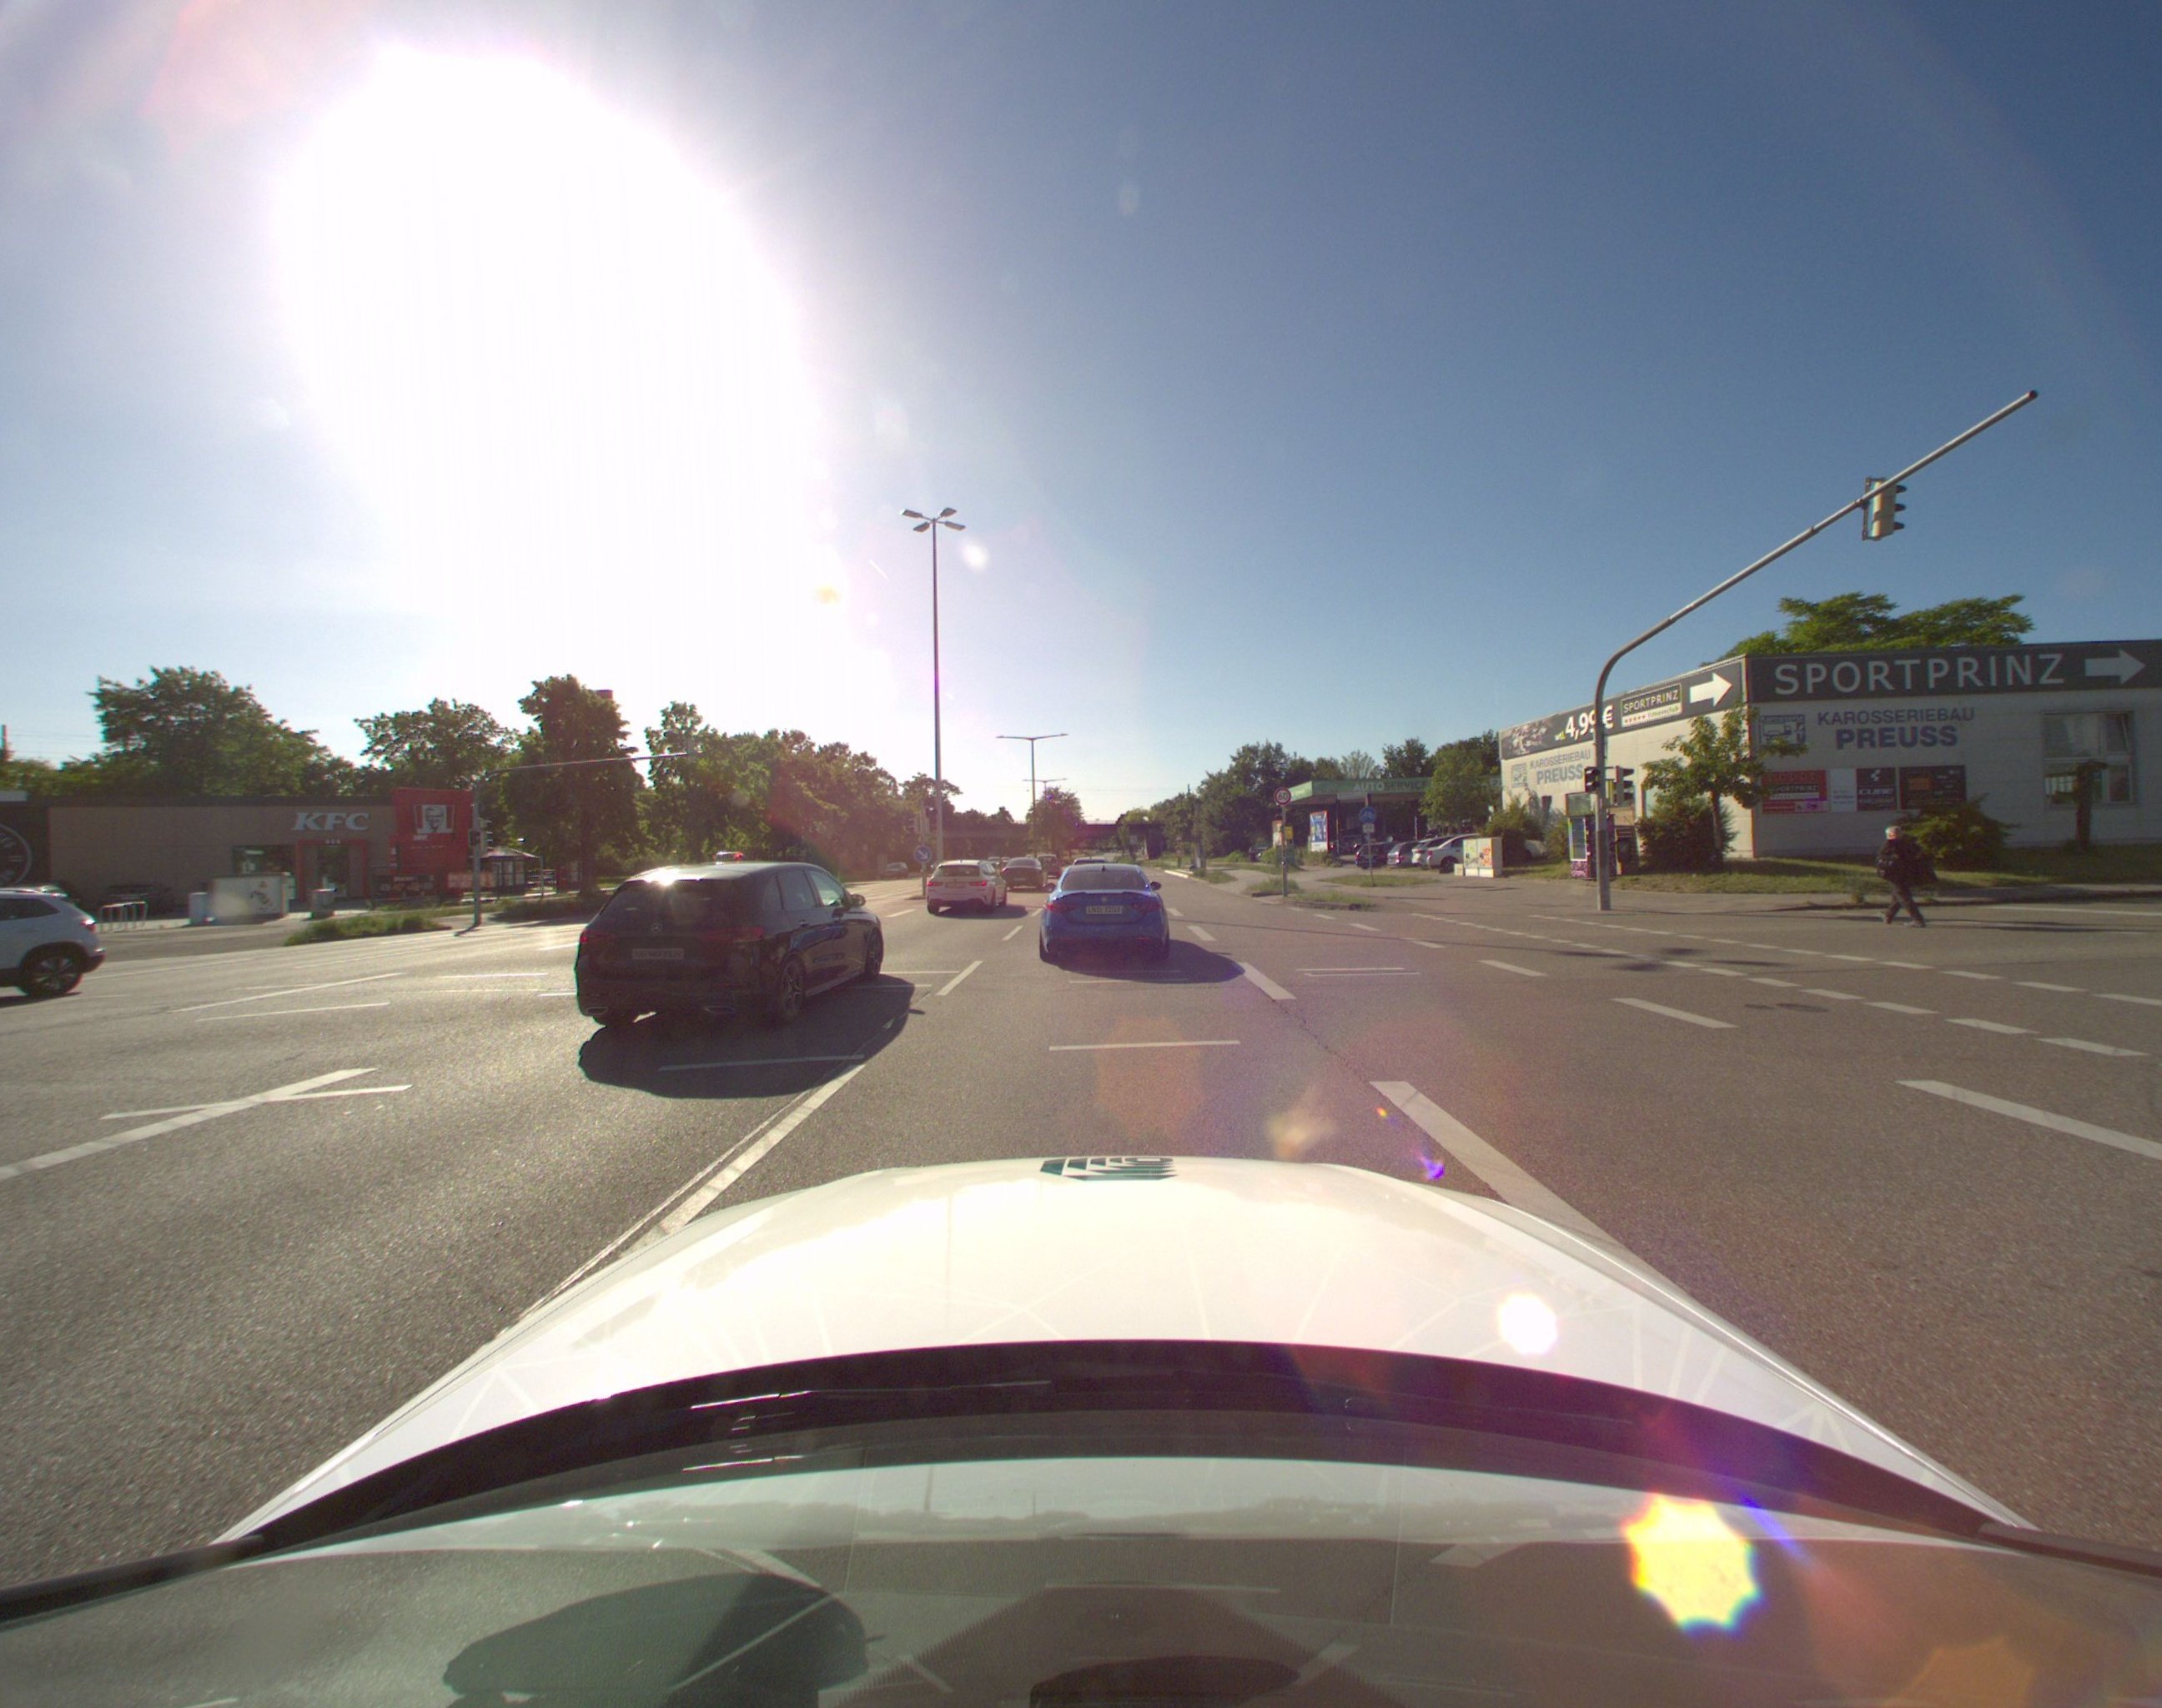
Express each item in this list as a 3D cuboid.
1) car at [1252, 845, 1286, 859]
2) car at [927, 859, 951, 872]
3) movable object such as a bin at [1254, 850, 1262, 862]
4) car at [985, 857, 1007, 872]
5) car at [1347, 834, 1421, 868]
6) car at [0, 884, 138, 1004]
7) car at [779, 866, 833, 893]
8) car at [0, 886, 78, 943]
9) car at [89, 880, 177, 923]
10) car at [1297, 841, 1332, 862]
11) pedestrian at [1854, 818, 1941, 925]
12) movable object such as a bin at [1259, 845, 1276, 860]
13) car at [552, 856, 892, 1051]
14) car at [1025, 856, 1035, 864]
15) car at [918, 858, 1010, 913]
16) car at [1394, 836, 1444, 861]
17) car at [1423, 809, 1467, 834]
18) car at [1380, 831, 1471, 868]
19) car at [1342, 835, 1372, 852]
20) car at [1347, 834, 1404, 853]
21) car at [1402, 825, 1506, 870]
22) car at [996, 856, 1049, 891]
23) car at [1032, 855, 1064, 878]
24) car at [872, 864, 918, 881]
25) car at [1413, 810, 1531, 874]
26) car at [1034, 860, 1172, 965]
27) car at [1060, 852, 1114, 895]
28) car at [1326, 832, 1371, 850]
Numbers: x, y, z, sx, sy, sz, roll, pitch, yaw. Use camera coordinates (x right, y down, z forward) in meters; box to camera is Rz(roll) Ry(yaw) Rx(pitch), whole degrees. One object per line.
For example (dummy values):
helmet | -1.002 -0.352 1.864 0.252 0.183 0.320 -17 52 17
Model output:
car | 19.910 -0.221 86.143 3.270 1.486 1.773 0 0 3
car | -16.905 1.355 97.130 1.986 1.474 4.197 -2 0 1
movable object such as a bin | 17.614 0.183 80.952 0.585 1.121 0.504 -1 0 -40
car | -9.589 1.167 92.306 1.867 1.642 4.172 -3 0 1
car | 16.648 -0.183 44.594 1.877 1.531 4.865 -5 0 45
car | -15.972 1.322 10.762 1.888 1.599 4.269 -3 0 2
car | -17.993 1.636 53.446 1.986 1.525 4.197 -2 0 1
car | -35.268 1.980 26.959 1.905 1.662 4.084 0 0 -41
car | -41.354 2.026 35.614 1.905 1.662 4.192 0 0 -41
car | 19.298 -0.201 67.470 1.737 1.573 4.251 -2 0 3
pedestrian | 13.591 0.278 13.569 0.754 1.716 0.618 -2 -1 1
movable object such as a bin | 18.361 -0.164 80.186 0.994 1.428 1.245 -1 0 -41
car | -3.451 0.830 8.826 1.701 1.598 4.225 0 0 1
car | -10.686 1.244 171.081 1.635 1.451 4.112 -4 0 1
car | -3.273 0.835 23.617 1.876 1.454 4.527 0 0 1
car | 23.716 -0.366 57.307 1.986 1.647 4.001 0 0 1
car | 29.513 -2.635 66.110 1.911 1.755 3.780 -3 -1 3
car | 16.970 -0.206 40.232 3.592 1.290 1.842 -9 -1 2
car | 27.266 -1.047 80.608 1.707 1.607 4.137 0 0 2
car | 24.098 -0.856 66.693 2.008 1.486 3.957 0 0 -35
car | 16.930 -0.297 37.101 3.892 1.452 1.731 -9 -1 12
car | -2.550 0.812 36.475 1.876 1.454 4.527 0 0 1
car | -2.201 0.804 55.251 1.773 1.454 4.183 -2 0 1
car | -16.928 1.689 74.235 1.978 1.376 4.644 -2 0 17
car | 16.160 -0.477 33.728 3.948 2.013 1.697 -9 -1 34
car | 0.357 0.809 13.157 1.876 1.406 4.225 0 0 1
car | 0.273 0.685 30.519 1.876 1.454 4.527 0 0 1
car | 27.600 -1.361 84.179 4.021 1.531 1.735 -4 -1 2
